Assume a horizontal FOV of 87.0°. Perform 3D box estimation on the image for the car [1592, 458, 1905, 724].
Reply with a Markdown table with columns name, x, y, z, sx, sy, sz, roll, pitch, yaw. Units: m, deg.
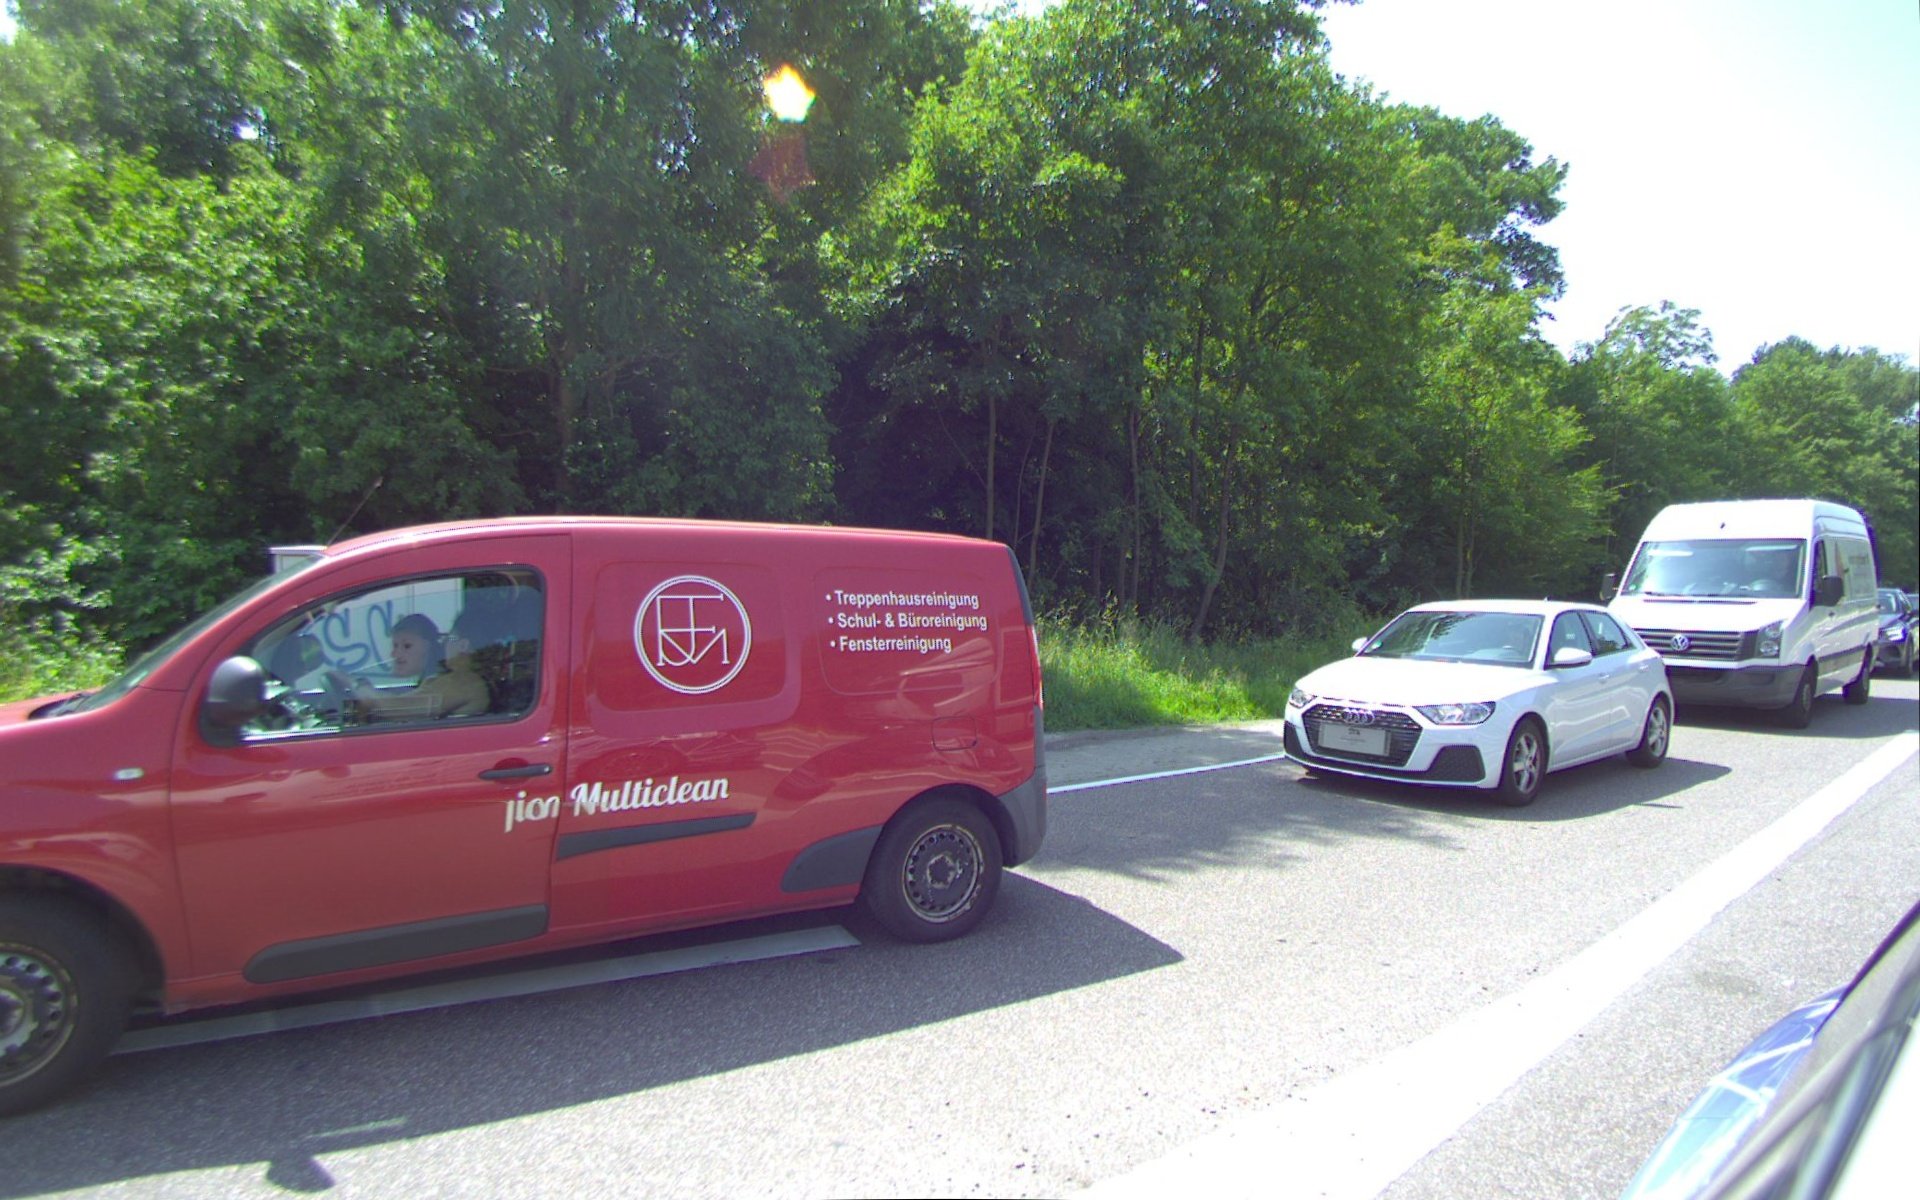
| name | x | y | z | sx | sy | sz | roll | pitch | yaw |
| --- | --- | --- | --- | --- | --- | --- | --- | --- | --- |
| car | 10.231 | -0.115 | 12.898 | 5.952 | 2.678 | 1.973 | 0 | 0 | -40 |

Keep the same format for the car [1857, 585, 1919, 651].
| name | x | y | z | sx | sy | sz | roll | pitch | yaw |
| --- | --- | --- | --- | --- | --- | --- | --- | --- | --- |
| car | 21.595 | 0.363 | 22.673 | 4.156 | 1.372 | 1.794 | -1 | 2 | -42 |

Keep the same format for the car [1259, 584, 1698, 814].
| name | x | y | z | sx | sy | sz | roll | pitch | yaw |
| --- | --- | --- | --- | --- | --- | --- | --- | --- | --- |
| car | 4.360 | 0.614 | 8.281 | 3.927 | 1.453 | 1.694 | -1 | 0 | -38 |

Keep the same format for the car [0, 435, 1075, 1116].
| name | x | y | z | sx | sy | sz | roll | pitch | yaw |
| --- | --- | --- | --- | --- | --- | --- | --- | --- | --- |
| car | -1.837 | 0.462 | 4.219 | 4.406 | 1.846 | 1.799 | 0 | 0 | -30 |

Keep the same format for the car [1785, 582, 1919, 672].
| name | x | y | z | sx | sy | sz | roll | pitch | yaw |
| --- | --- | --- | --- | --- | --- | --- | --- | --- | --- |
| car | 16.708 | 0.415 | 18.609 | 4.156 | 1.479 | 1.794 | -1 | 1 | -42 |
